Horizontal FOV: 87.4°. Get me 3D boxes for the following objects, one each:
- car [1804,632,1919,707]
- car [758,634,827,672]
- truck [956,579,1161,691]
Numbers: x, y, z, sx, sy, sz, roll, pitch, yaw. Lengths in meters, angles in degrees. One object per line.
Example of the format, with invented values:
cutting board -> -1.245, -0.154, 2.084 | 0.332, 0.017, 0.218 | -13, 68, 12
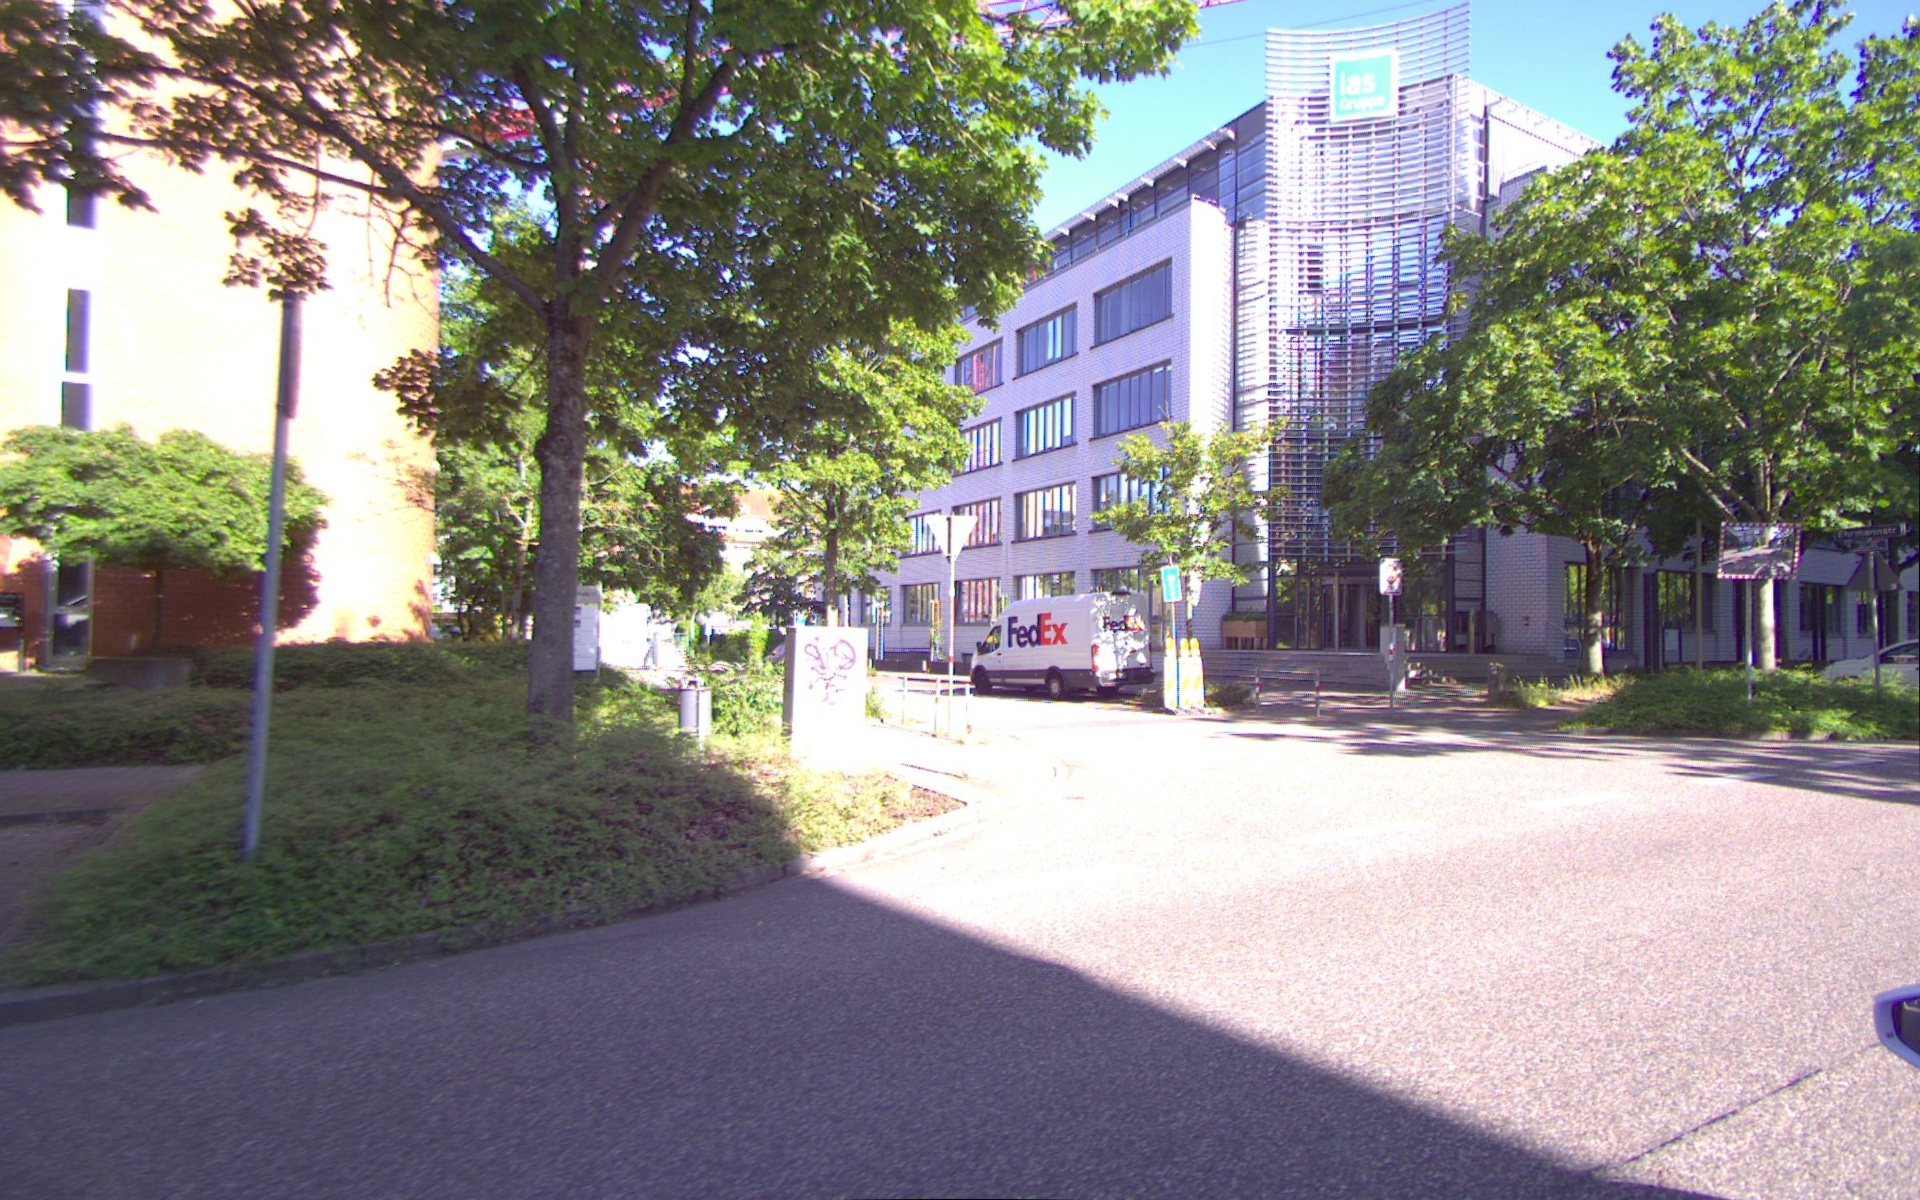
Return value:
car -> 20.837, 1.538, 21.780 | 1.620, 1.569, 3.561 | 5, -3, -32
car -> -7.874, 2.446, 47.027 | 1.985, 1.700, 3.970 | 2, -3, -29
truck -> 2.549, 0.969, 27.909 | 2.549, 2.740, 6.073 | 2, -2, -31
